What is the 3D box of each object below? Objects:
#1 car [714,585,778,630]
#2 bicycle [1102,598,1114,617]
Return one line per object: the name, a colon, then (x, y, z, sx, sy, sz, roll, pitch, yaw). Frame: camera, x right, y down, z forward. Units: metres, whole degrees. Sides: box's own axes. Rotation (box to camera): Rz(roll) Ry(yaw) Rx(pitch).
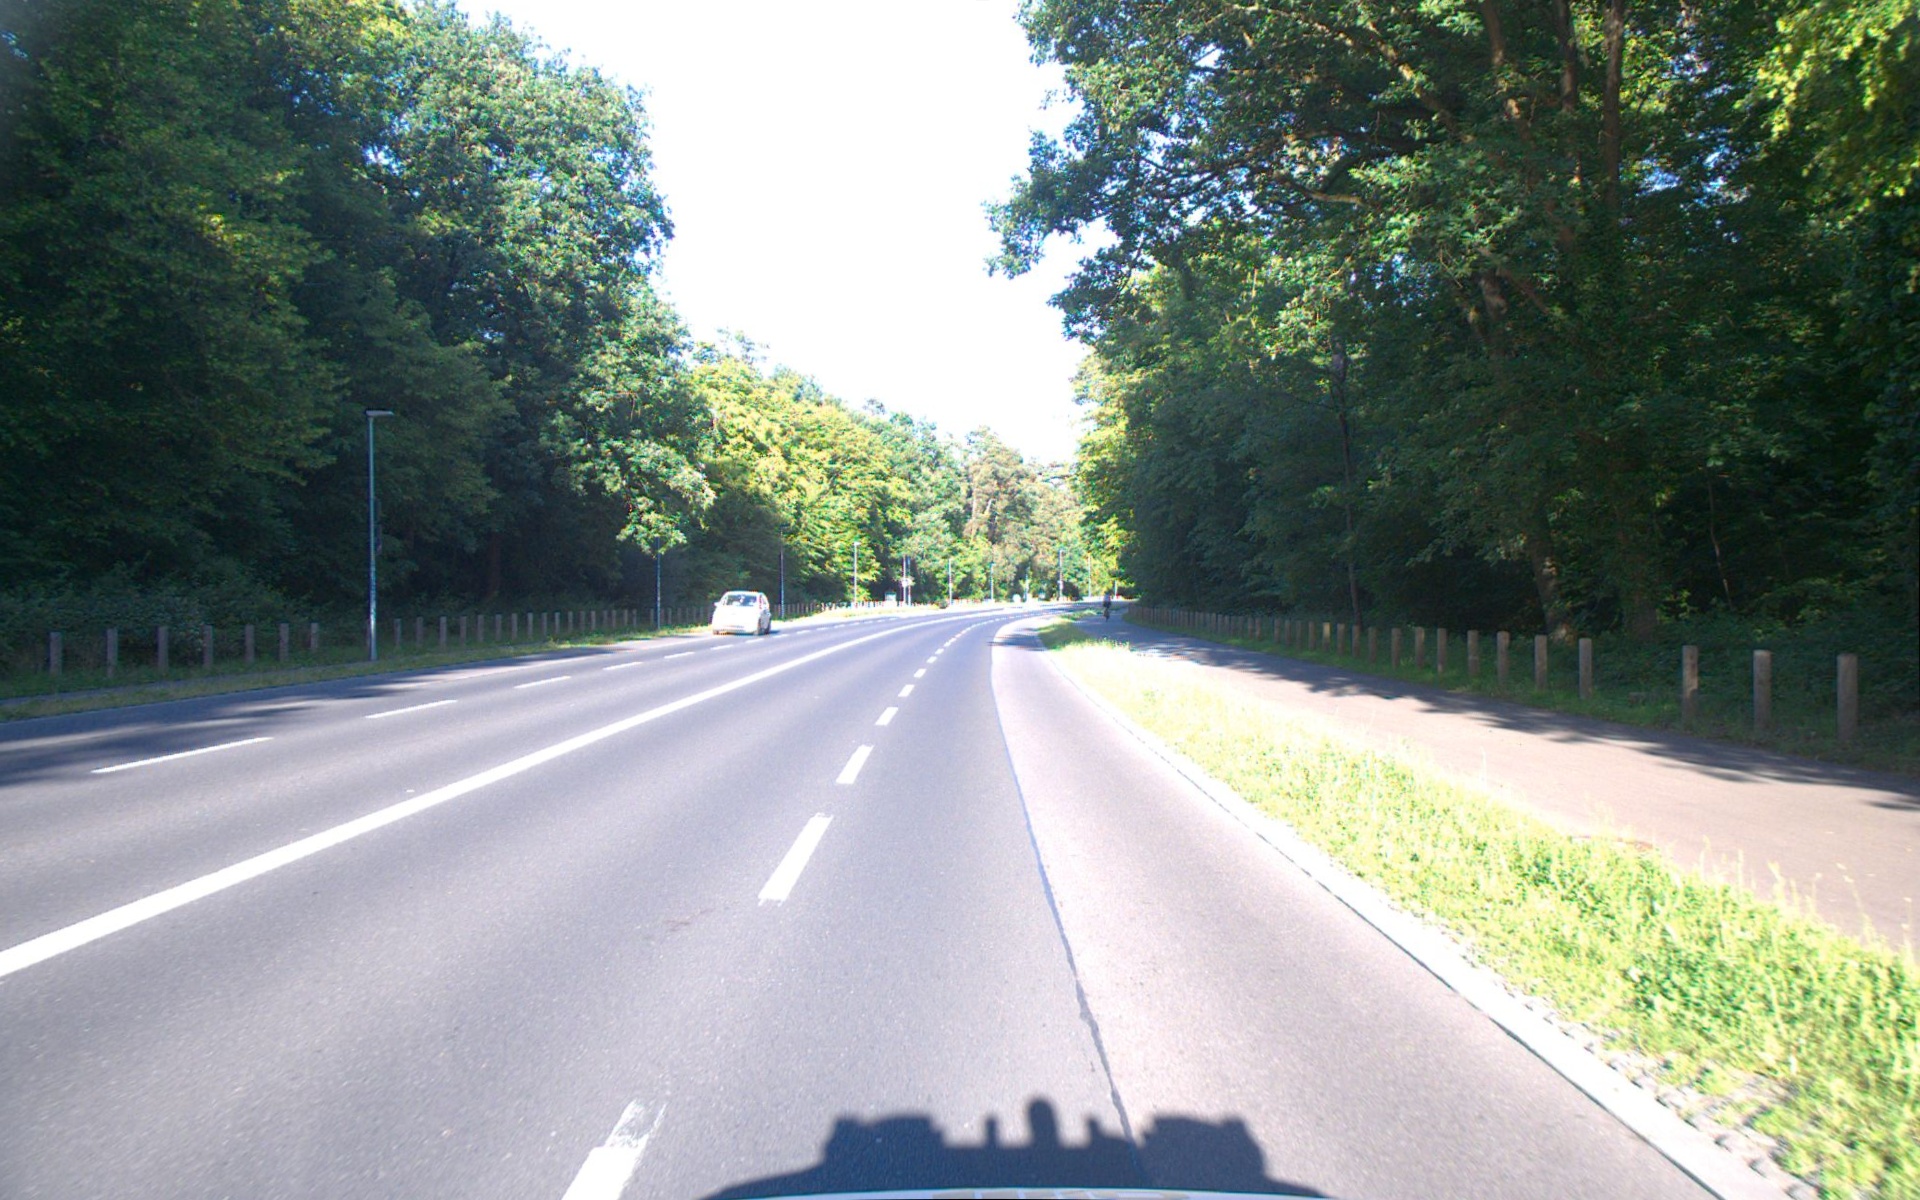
car: (-7.482, 0.251, 58.068, 1.554, 1.462, 4.309, 2, 0, 1)
bicycle: (8.640, 0.412, 96.665, 0.697, 1.074, 2.054, 0, 0, 5)
